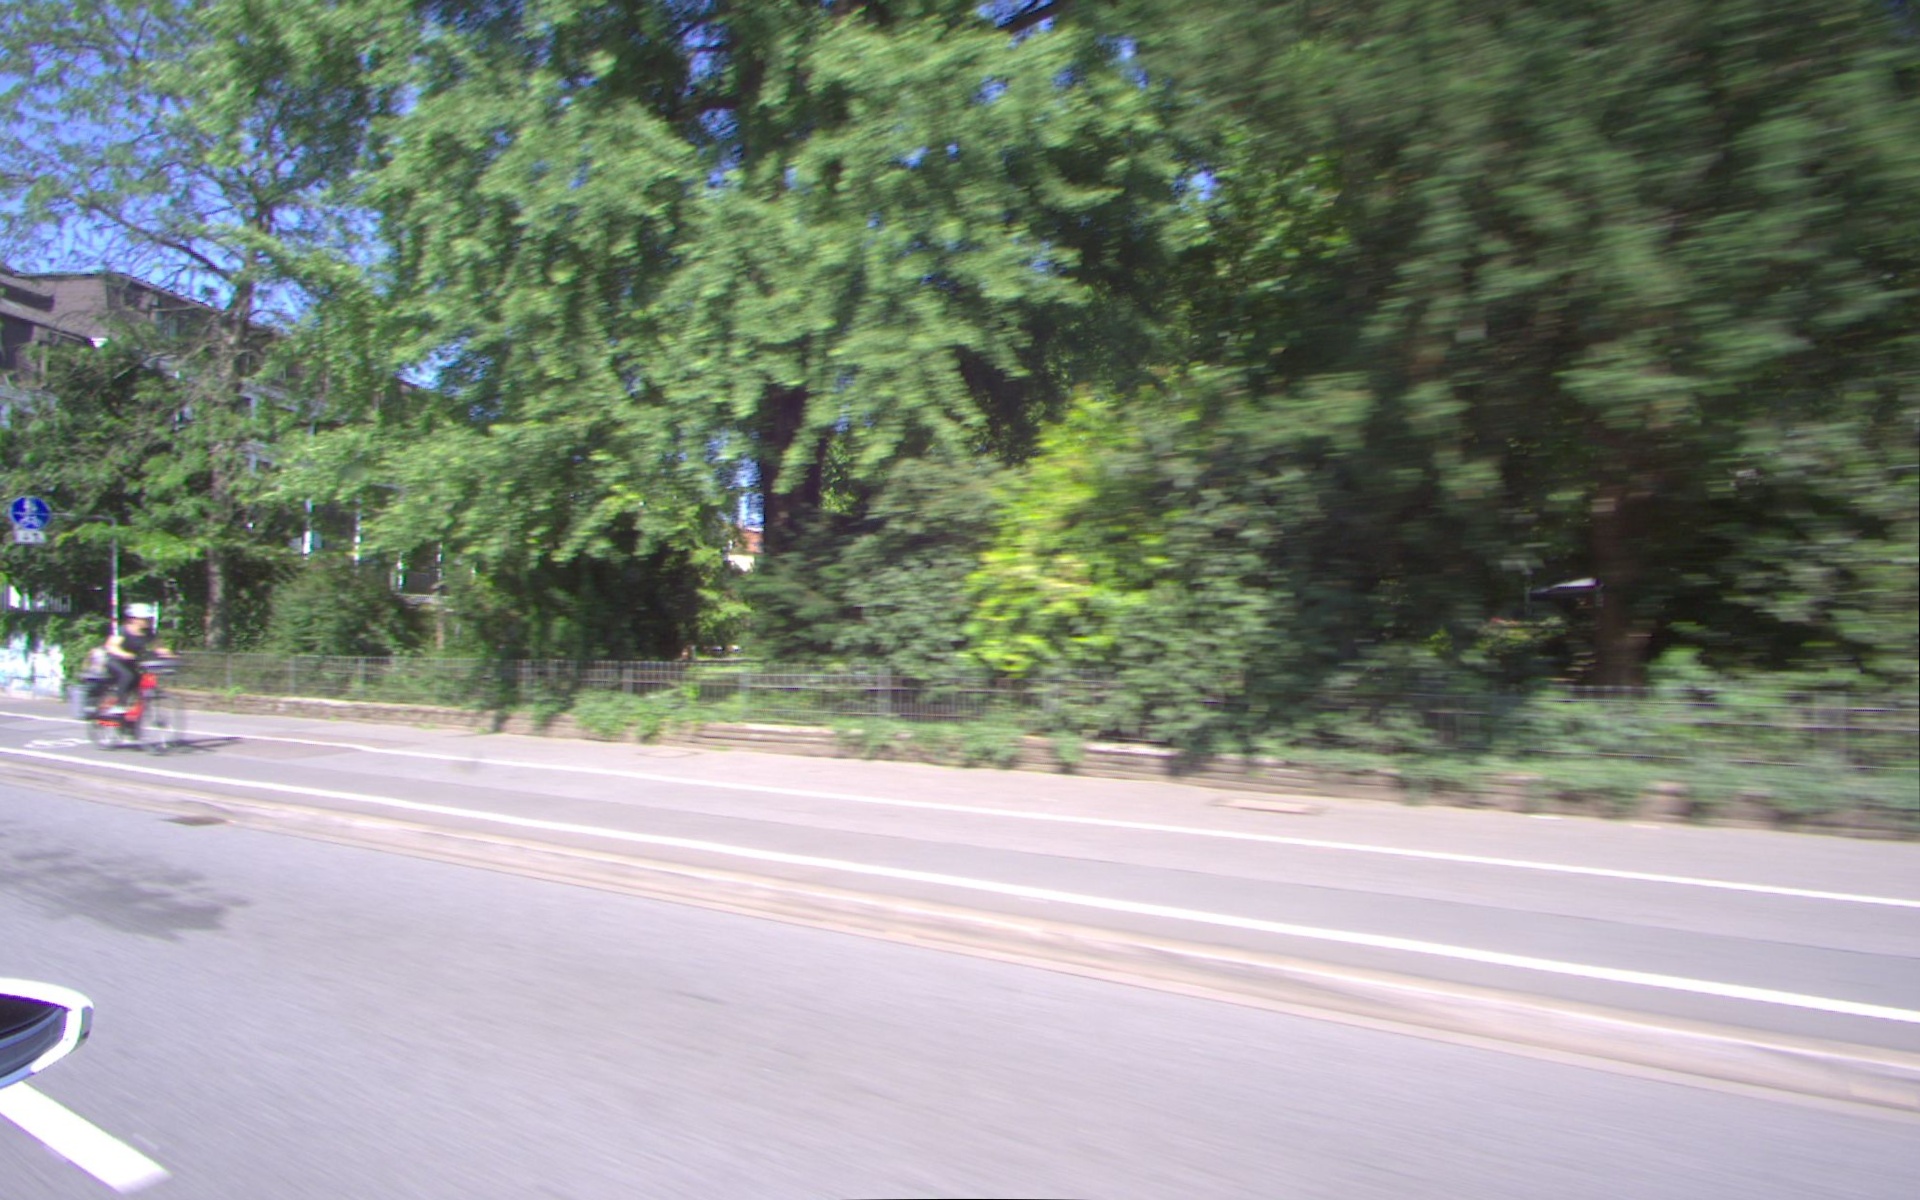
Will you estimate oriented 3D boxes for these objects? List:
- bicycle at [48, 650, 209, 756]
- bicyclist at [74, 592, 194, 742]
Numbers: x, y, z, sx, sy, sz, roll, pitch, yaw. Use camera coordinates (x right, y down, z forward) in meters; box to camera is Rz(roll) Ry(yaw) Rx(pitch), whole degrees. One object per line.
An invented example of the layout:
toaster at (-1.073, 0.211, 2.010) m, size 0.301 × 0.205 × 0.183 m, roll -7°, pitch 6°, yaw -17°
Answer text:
bicycle at (-9.687, 1.155, 11.653) m, size 1.971 × 1.135 × 0.757 m, roll -2°, pitch -2°, yaw 28°
bicyclist at (-9.577, 0.758, 11.621) m, size 0.928 × 1.657 × 0.764 m, roll -1°, pitch -1°, yaw 27°
